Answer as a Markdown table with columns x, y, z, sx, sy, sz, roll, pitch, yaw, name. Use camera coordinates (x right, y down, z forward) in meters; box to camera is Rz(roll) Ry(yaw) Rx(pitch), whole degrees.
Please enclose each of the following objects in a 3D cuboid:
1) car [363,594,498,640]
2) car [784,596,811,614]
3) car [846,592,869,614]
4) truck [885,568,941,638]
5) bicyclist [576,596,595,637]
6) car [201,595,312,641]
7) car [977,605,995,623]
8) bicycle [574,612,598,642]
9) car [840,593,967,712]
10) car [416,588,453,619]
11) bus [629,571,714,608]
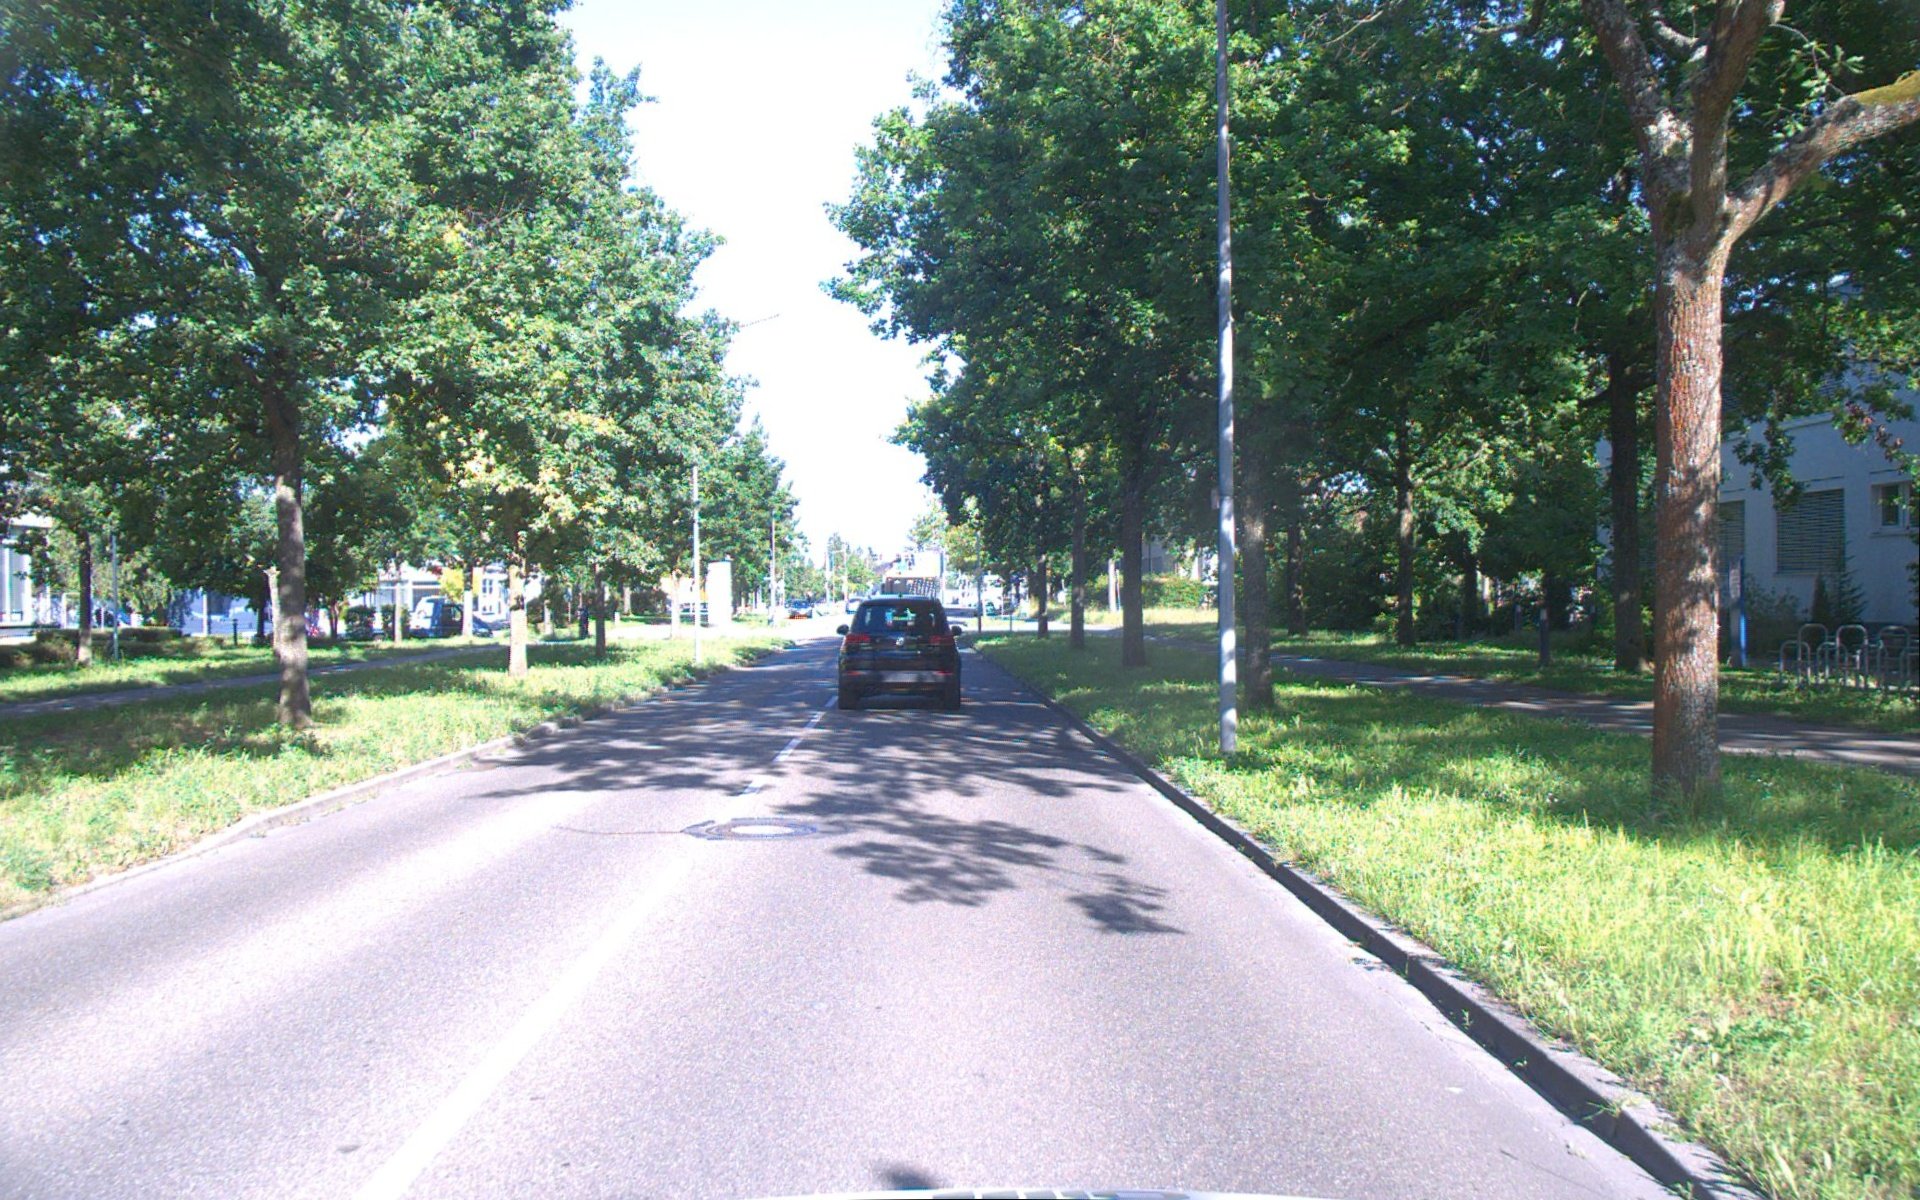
| x | y | z | sx | sy | sz | roll | pitch | yaw | name |
| --- | --- | --- | --- | --- | --- | --- | --- | --- | --- |
| -24.223 | 0.779 | 75.835 | 5.687 | 2.049 | 1.995 | 1 | 0 | -12 | car |
| -13.613 | 0.402 | 138.916 | 1.953 | 1.481 | 3.999 | -1 | 0 | -2 | car |
| -9.780 | 0.295 | 157.305 | 1.955 | 2.049 | 3.994 | 1 | 0 | -7 | car |
| -2.311 | 0.111 | 83.918 | 2.460 | 3.300 | 8.153 | -1 | 0 | 1 | truck |
| -17.248 | 0.774 | 76.167 | 0.672 | 1.863 | 0.934 | 1 | 0 | -2 | bicyclist |
| -26.515 | 0.668 | 62.430 | 3.288 | 1.671 | 2.001 | 1 | 0 | 4 | car |
| 2.181 | 1.135 | 138.543 | 1.422 | 1.430 | 2.855 | 1 | 0 | 0 | car |
| -17.240 | 1.227 | 76.231 | 0.702 | 1.344 | 1.991 | 1 | 0 | -2 | bicycle |
| -0.795 | 0.733 | 25.506 | 1.745 | 1.662 | 4.001 | 1 | 0 | 1 | car |
| -40.732 | 0.268 | 128.189 | 1.956 | 2.275 | 3.994 | -1 | 0 | -7 | car |
| -31.094 | -1.122 | 178.458 | 8.939 | 3.844 | 3.379 | 1 | 0 | -10 | bus |
